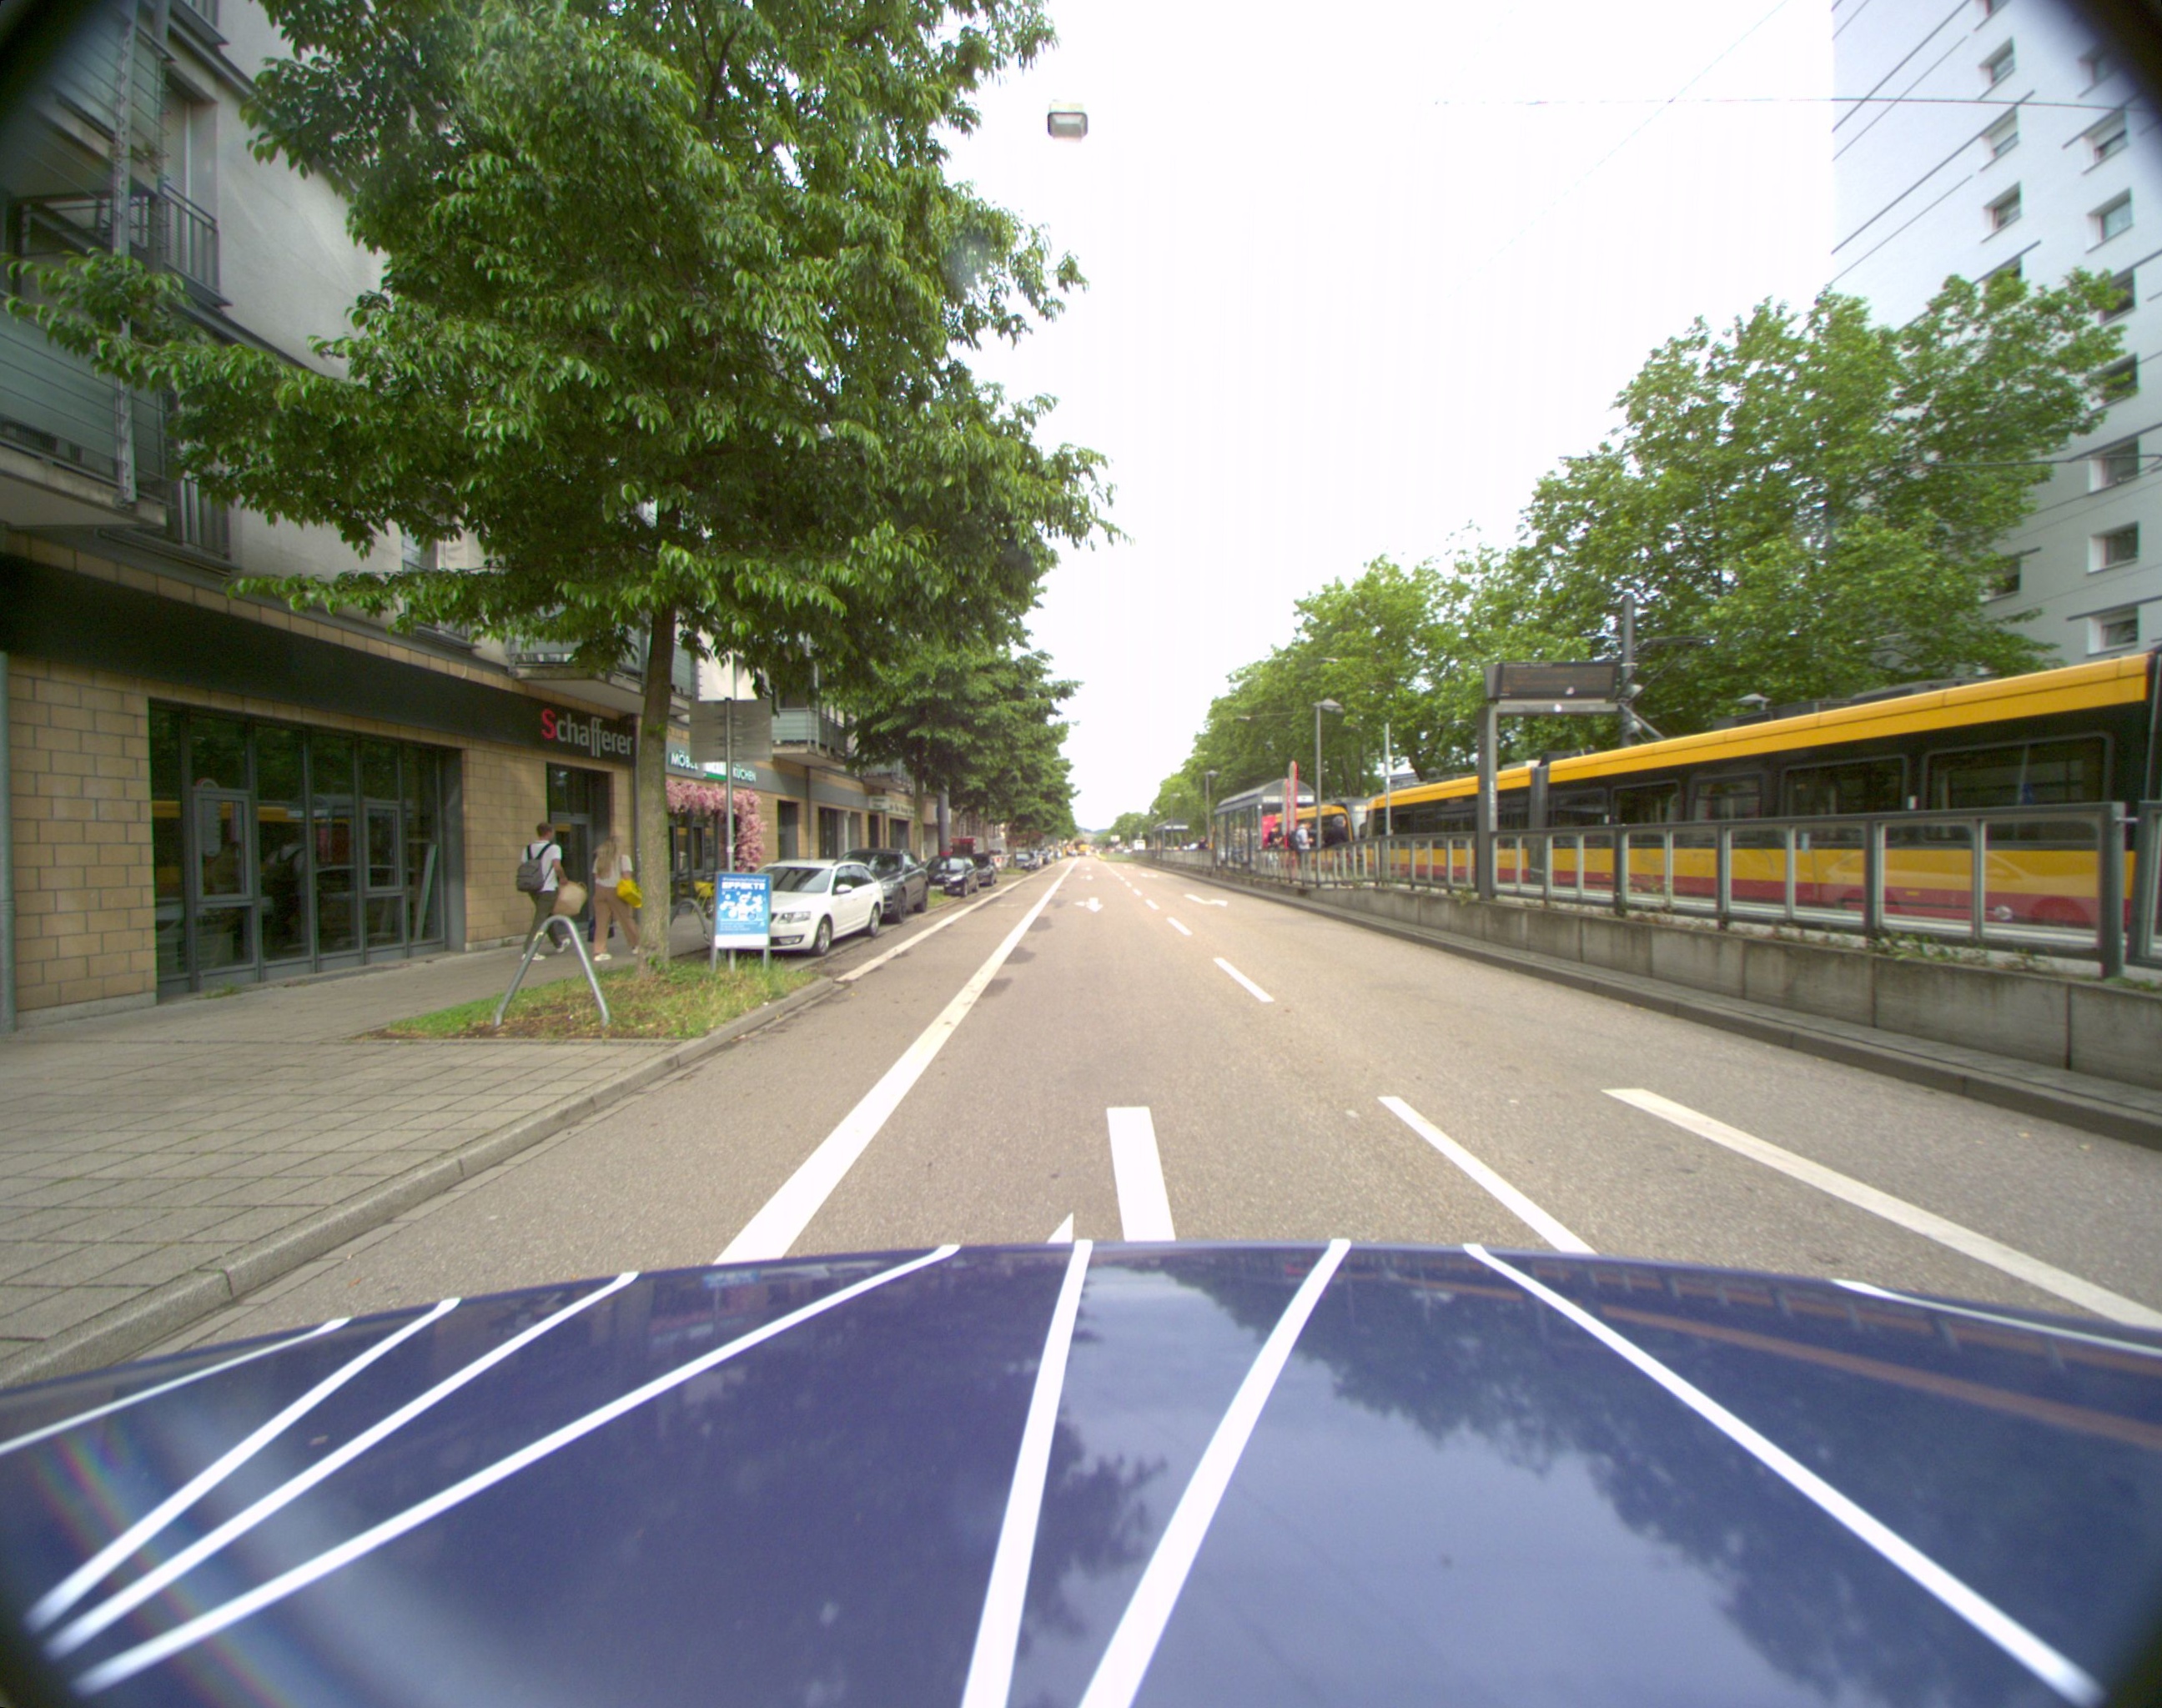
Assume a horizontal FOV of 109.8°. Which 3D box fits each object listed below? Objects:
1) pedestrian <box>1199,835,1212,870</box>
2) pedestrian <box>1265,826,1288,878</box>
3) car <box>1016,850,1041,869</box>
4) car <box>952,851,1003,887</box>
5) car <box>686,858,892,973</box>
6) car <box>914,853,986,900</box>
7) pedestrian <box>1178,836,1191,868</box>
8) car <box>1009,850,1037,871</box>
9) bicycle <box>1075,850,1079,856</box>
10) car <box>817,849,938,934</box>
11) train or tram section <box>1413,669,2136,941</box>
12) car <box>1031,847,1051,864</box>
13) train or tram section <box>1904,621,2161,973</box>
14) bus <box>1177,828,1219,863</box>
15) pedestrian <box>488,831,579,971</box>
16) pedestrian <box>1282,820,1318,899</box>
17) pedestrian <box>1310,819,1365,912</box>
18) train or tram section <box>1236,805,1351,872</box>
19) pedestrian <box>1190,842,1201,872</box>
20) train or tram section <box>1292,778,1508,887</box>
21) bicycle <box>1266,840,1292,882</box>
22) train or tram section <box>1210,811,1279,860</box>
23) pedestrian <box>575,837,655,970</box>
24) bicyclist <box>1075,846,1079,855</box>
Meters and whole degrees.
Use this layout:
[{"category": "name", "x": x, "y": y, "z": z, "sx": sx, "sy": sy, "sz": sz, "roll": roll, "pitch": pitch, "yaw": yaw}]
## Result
[{"category": "pedestrian", "x": 5.966, "y": -0.065, "z": 36.427, "sx": 0.513, "sy": 1.623, "sz": 0.730, "roll": -2, "pitch": 1, "yaw": 2}, {"category": "pedestrian", "x": 6.228, "y": -0.062, "z": 24.221, "sx": 0.532, "sy": 1.623, "sz": 0.471, "roll": -2, "pitch": 1, "yaw": -2}, {"category": "car", "x": -4.303, "y": 0.441, "z": 62.658, "sx": 1.755, "sy": 1.452, "sz": 4.279, "roll": 1, "pitch": 1, "yaw": 0}, {"category": "car", "x": -4.701, "y": 0.631, "z": 35.047, "sx": 1.802, "sy": 1.447, "sz": 4.387, "roll": 2, "pitch": 1, "yaw": -1}, {"category": "car", "x": -4.709, "y": 0.887, "z": 13.008, "sx": 1.680, "sy": 1.490, "sz": 4.389, "roll": 2, "pitch": 1, "yaw": 2}, {"category": "car", "x": -4.616, "y": 0.737, "z": 27.376, "sx": 1.680, "sy": 1.433, "sz": 4.407, "roll": 2, "pitch": 1, "yaw": 2}, {"category": "pedestrian", "x": 6.607, "y": -0.147, "z": 48.501, "sx": 0.676, "sy": 2.002, "sz": 0.588, "roll": -2, "pitch": 1, "yaw": -2}, {"category": "car", "x": -4.295, "y": 0.468, "z": 56.521, "sx": 1.755, "sy": 1.452, "sz": 4.279, "roll": 1, "pitch": 1, "yaw": 0}, {"category": "bicycle", "x": -0.741, "y": -0.166, "z": 146.647, "sx": 0.613, "sy": 1.116, "sz": 2.050, "roll": -2, "pitch": 1, "yaw": 1}, {"category": "car", "x": -4.749, "y": 0.781, "z": 18.423, "sx": 1.716, "sy": 1.707, "sz": 4.710, "roll": 2, "pitch": 1, "yaw": -1}, {"category": "train or tram section", "x": 12.628, "y": -0.761, "z": 17.803, "sx": 3.067, "sy": 3.511, "sz": 15.292, "roll": -2, "pitch": 1, "yaw": 1}, {"category": "car", "x": -4.097, "y": 0.141, "z": 78.825, "sx": 1.837, "sy": 1.720, "sz": 4.279, "roll": 1, "pitch": 1, "yaw": 0}, {"category": "train or tram section", "x": 12.446, "y": -0.544, "z": 2.209, "sx": 3.067, "sy": 3.568, "sz": 15.846, "roll": -2, "pitch": 1, "yaw": 1}, {"category": "bus", "x": 7.298, "y": -0.540, "z": 47.737, "sx": 1.998, "sy": 2.002, "sz": 3.999, "roll": -2, "pitch": 1, "yaw": 1}, {"category": "pedestrian", "x": -7.550, "y": 0.627, "z": 10.510, "sx": 0.676, "sy": 1.880, "sz": 0.737, "roll": 0, "pitch": 1, "yaw": 2}, {"category": "pedestrian", "x": 5.696, "y": 0.128, "z": 19.738, "sx": 0.753, "sy": 2.002, "sz": 0.819, "roll": -2, "pitch": 2, "yaw": 24}, {"category": "pedestrian", "x": 5.678, "y": 0.243, "z": 16.831, "sx": 0.756, "sy": 2.002, "sz": 0.816, "roll": -3, "pitch": 2, "yaw": -36}, {"category": "train or tram section", "x": 13.004, "y": -0.953, "z": 48.637, "sx": 3.067, "sy": 3.511, "sz": 15.769, "roll": -2, "pitch": 1, "yaw": 1}, {"category": "pedestrian", "x": 6.213, "y": 0.153, "z": 41.262, "sx": 0.480, "sy": 1.623, "sz": 0.392, "roll": -2, "pitch": 1, "yaw": 2}, {"category": "train or tram section", "x": 12.825, "y": -0.841, "z": 33.114, "sx": 3.067, "sy": 3.511, "sz": 15.292, "roll": -2, "pitch": 1, "yaw": 1}, {"category": "bicycle", "x": 6.001, "y": 0.189, "z": 23.072, "sx": 0.420, "sy": 1.215, "sz": 1.289, "roll": -2, "pitch": 1, "yaw": 0}, {"category": "train or tram section", "x": 13.202, "y": -1.468, "z": 62.786, "sx": 3.100, "sy": 3.541, "sz": 12.537, "roll": -2, "pitch": 1, "yaw": 1}, {"category": "pedestrian", "x": -6.514, "y": 0.667, "z": 10.647, "sx": 0.617, "sy": 1.795, "sz": 0.737, "roll": 0, "pitch": 1, "yaw": 2}, {"category": "bicyclist", "x": -0.767, "y": -0.649, "z": 146.731, "sx": 0.751, "sy": 1.777, "sz": 0.838, "roll": -2, "pitch": 1, "yaw": 1}]
